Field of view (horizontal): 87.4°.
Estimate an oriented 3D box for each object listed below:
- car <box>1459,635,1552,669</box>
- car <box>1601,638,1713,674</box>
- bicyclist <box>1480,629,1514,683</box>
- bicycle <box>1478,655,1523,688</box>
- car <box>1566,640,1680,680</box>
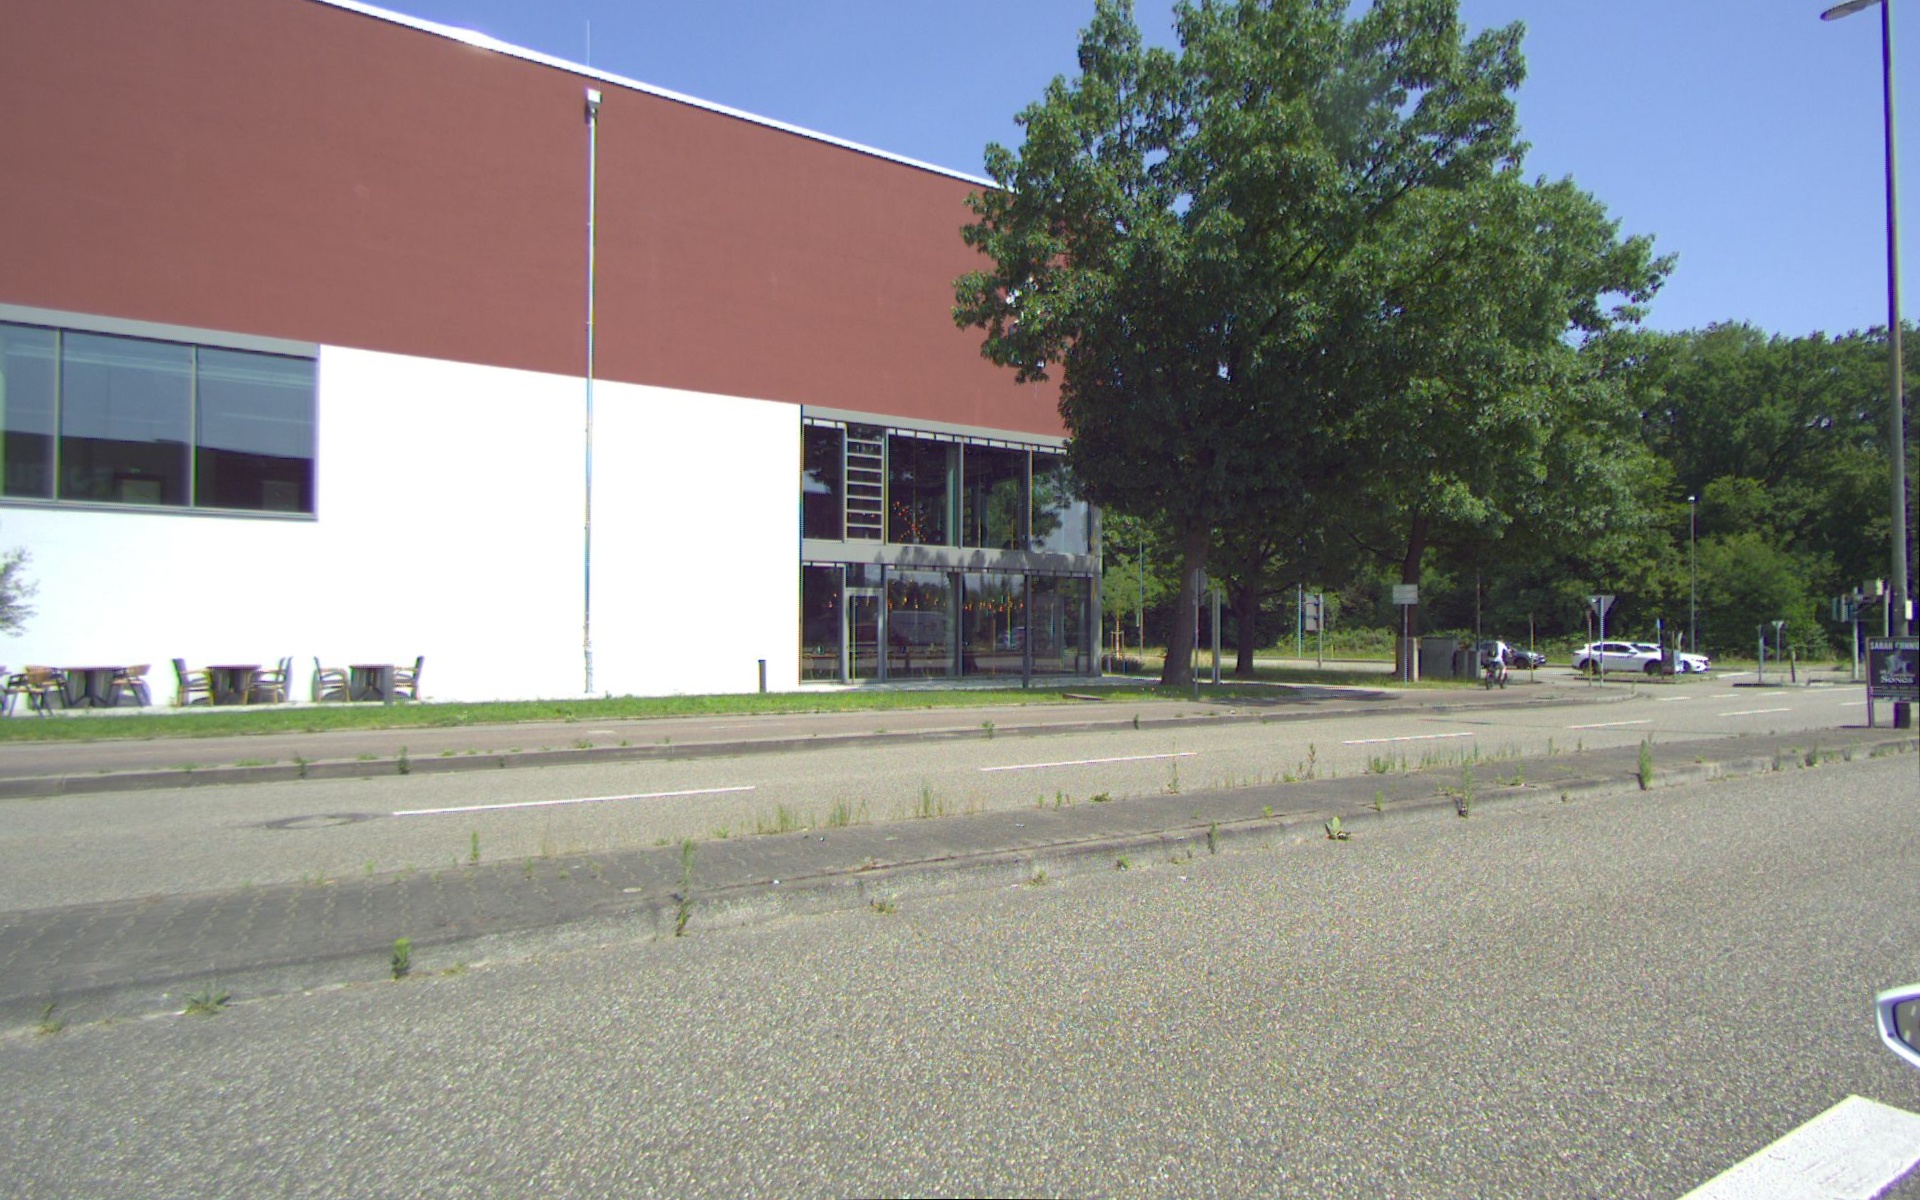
[{"bbox_3d":[31.448,2.991,57.961,1.796,1.704,4.332,2,-1,-41],"label":"car"},{"bbox_3d":[35.819,2.895,51.723,1.794,1.703,4.340,2,-6,-37],"label":"car"},{"bbox_3d":[16.801,1.744,31.429,0.915,1.652,0.603,1,-2,-37],"label":"bicyclist"},{"bbox_3d":[16.968,2.242,31.533,1.645,0.982,0.613,2,-2,-37],"label":"bicycle"},{"bbox_3d":[32.672,2.912,49.615,1.794,1.704,4.338,2,0,-37],"label":"car"}]
